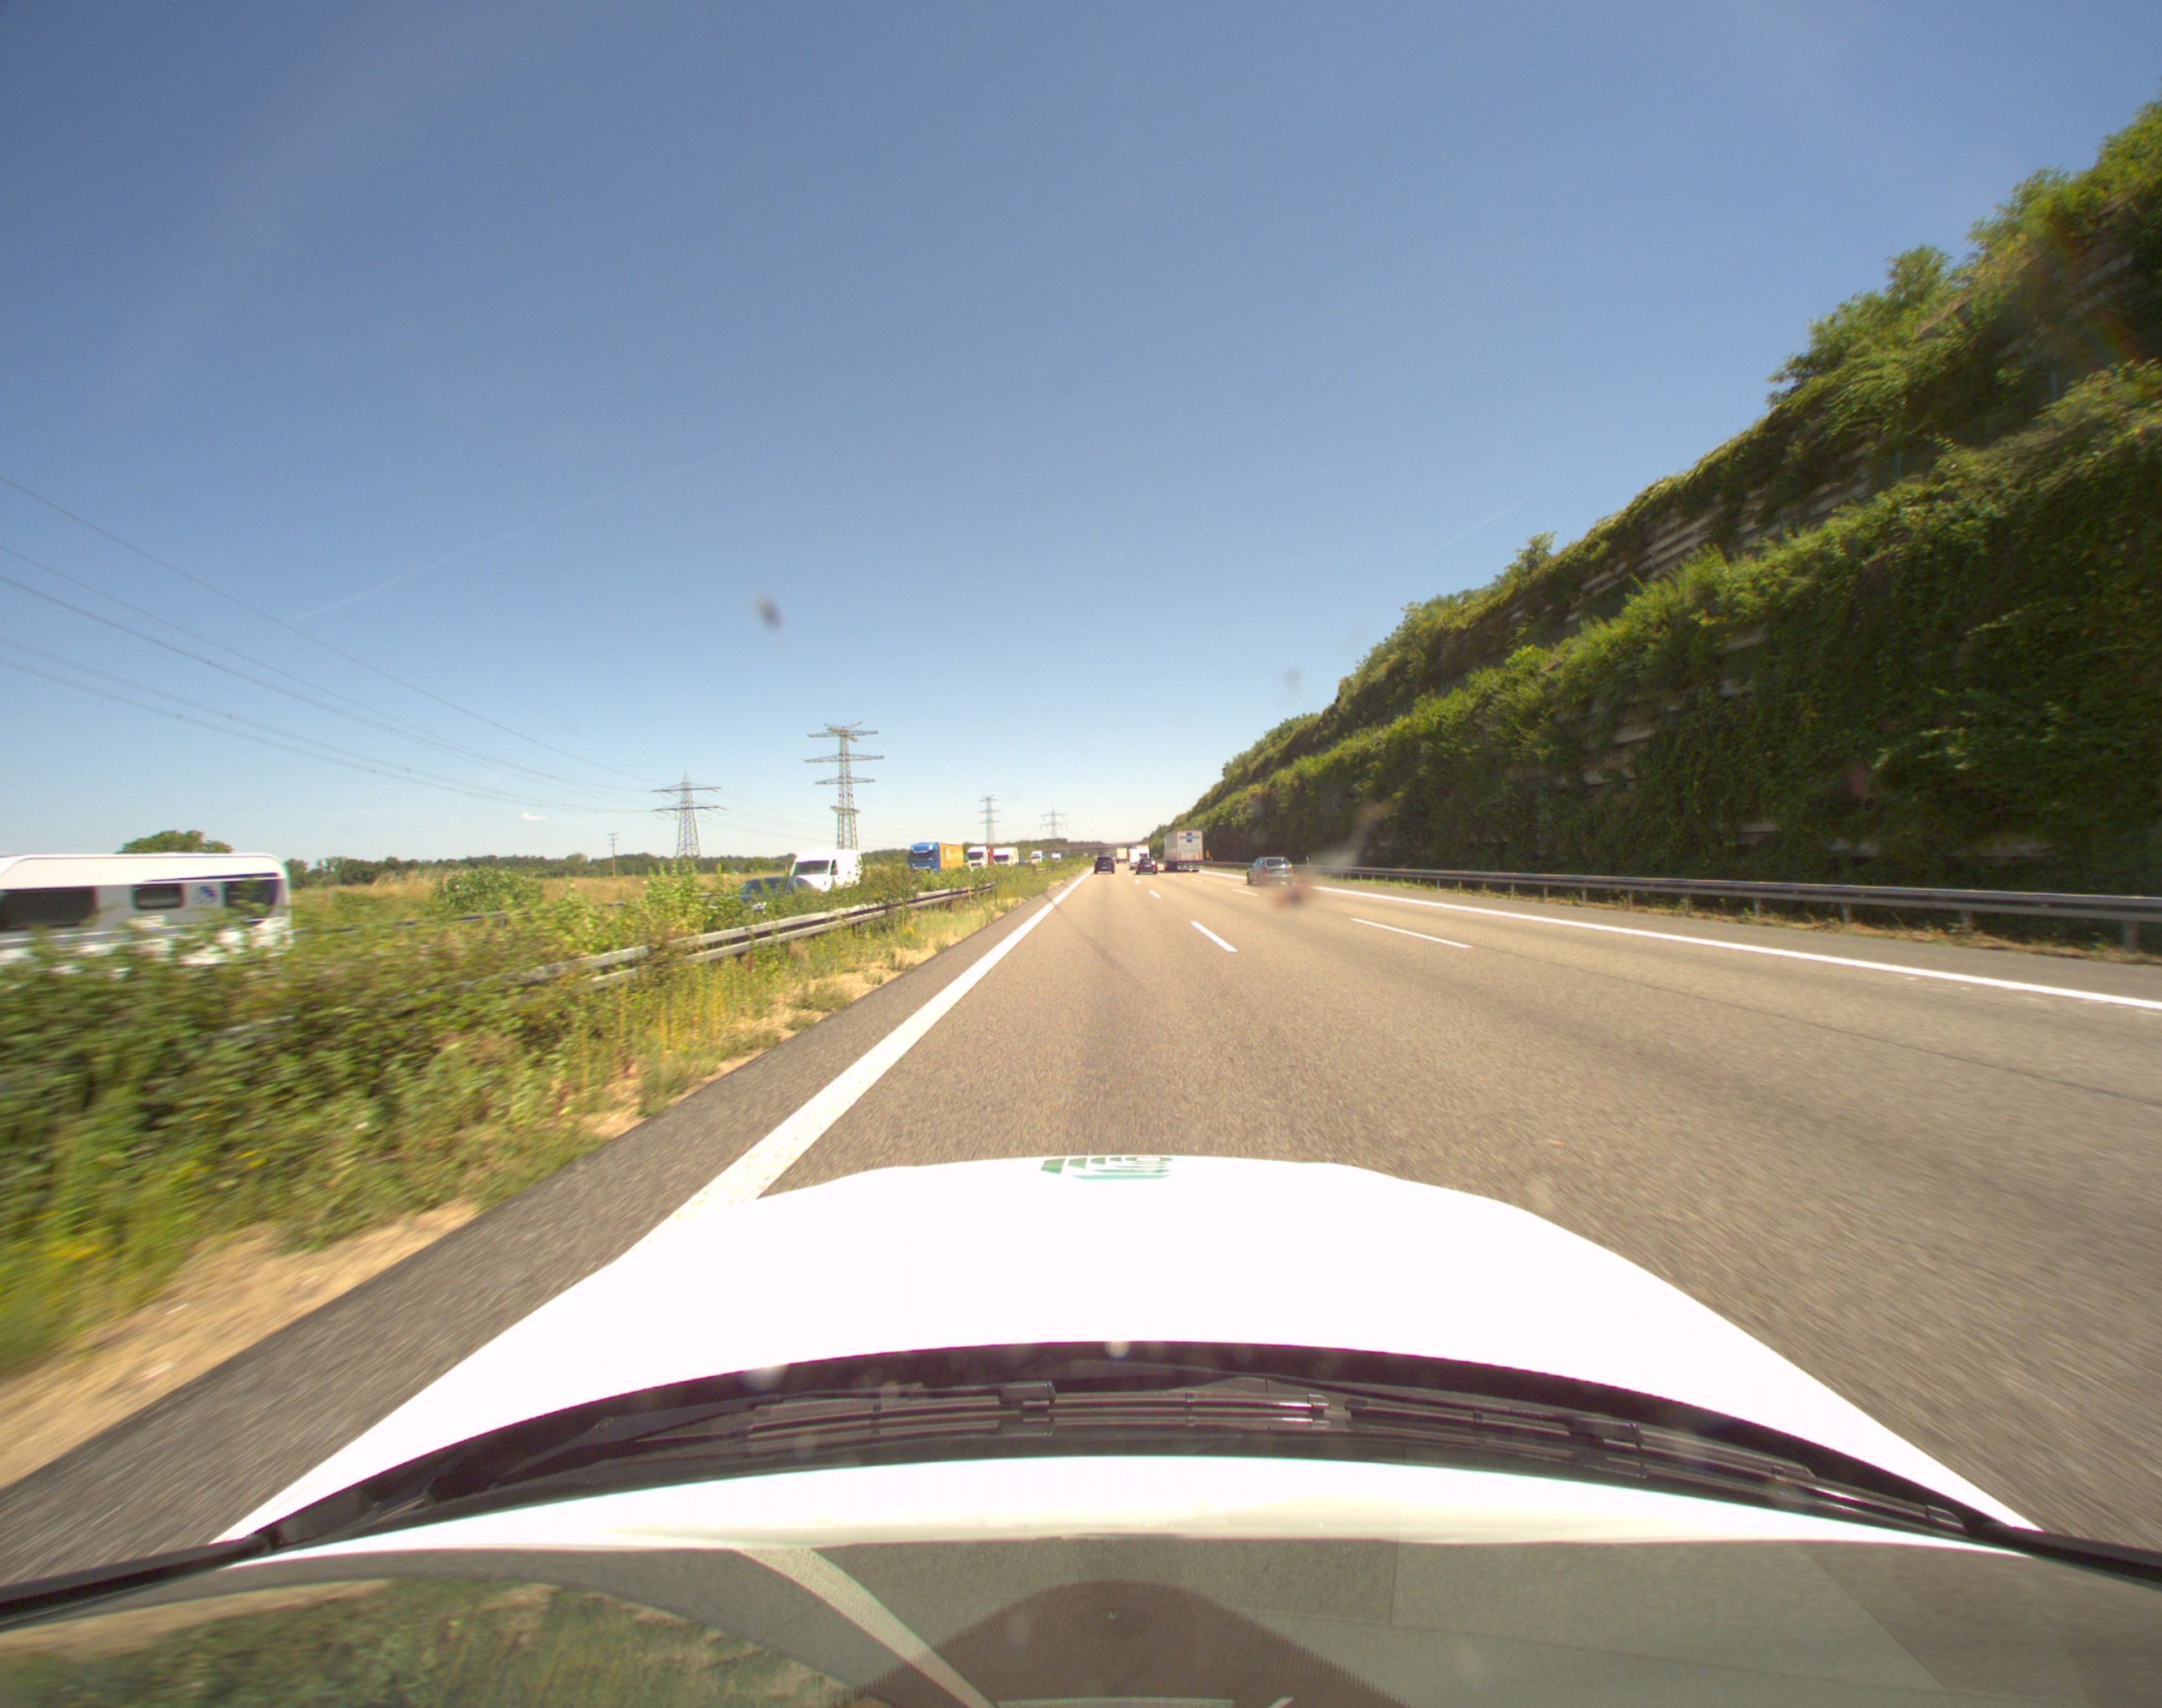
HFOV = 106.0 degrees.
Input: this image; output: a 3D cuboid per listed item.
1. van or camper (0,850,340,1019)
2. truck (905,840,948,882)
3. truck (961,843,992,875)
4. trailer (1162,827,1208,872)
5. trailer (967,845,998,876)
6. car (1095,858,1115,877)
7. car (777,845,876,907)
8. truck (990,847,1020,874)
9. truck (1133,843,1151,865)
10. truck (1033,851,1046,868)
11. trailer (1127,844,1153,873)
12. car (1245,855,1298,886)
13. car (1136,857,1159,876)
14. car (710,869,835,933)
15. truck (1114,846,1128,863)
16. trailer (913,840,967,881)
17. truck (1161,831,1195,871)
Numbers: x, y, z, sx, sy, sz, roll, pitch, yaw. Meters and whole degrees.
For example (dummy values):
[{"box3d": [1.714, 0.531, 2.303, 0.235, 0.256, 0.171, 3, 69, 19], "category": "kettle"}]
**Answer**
[{"box3d": [-17.315, 1.258, 14.332, 2.434, 2.518, 6.485, -3, 0, 1], "category": "van or camper"}, {"box3d": [-15.227, 0.696, 80.727, 2.853, 3.907, 5.622, -2, 0, 2], "category": "truck"}, {"box3d": [-14.491, 0.729, 113.353, 3.203, 4.158, 6.438, -3, 0, 0], "category": "truck"}, {"box3d": [10.549, -0.388, 83.876, 3.171, 4.121, 13.435, -3, 0, 2], "category": "trailer"}, {"box3d": [-14.347, 0.938, 119.822, 3.183, 4.306, 12.267, -1, 0, 0], "category": "trailer"}, {"box3d": [2.268, 1.261, 78.856, 1.823, 1.670, 4.001, -2, 0, 1], "category": "car"}, {"box3d": [-12.289, 0.995, 40.017, 2.097, 2.631, 7.470, -4, 0, 2], "category": "car"}, {"box3d": [-10.241, 0.901, 111.207, 2.926, 3.413, 9.367, -3, 0, 1], "category": "truck"}, {"box3d": [12.342, 0.036, 166.189, 3.107, 4.280, 11.937, -2, 0, 2], "category": "truck"}, {"box3d": [-10.399, 1.424, 206.440, 2.686, 4.068, 5.803, -2, 0, 1], "category": "truck"}, {"box3d": [7.178, 0.564, 100.304, 2.601, 3.213, 9.954, -2, 0, 1], "category": "trailer"}, {"box3d": [9.537, 0.788, 41.043, 1.679, 1.428, 4.454, -1, 0, 1], "category": "car"}, {"box3d": [5.921, 1.106, 73.050, 1.823, 1.525, 4.002, -2, 0, 2], "category": "car"}, {"box3d": [-8.589, 1.249, 23.124, 1.792, 1.512, 4.442, -3, 0, 0], "category": "car"}, {"box3d": [10.490, 0.151, 216.338, 3.397, 4.280, 10.611, -2, 0, 2], "category": "truck"}, {"box3d": [-15.033, 0.660, 87.973, 2.839, 3.977, 14.147, -2, 0, 1], "category": "trailer"}, {"box3d": [10.709, -0.314, 90.577, 3.124, 4.141, 5.505, -2, 0, 1], "category": "truck"}]
